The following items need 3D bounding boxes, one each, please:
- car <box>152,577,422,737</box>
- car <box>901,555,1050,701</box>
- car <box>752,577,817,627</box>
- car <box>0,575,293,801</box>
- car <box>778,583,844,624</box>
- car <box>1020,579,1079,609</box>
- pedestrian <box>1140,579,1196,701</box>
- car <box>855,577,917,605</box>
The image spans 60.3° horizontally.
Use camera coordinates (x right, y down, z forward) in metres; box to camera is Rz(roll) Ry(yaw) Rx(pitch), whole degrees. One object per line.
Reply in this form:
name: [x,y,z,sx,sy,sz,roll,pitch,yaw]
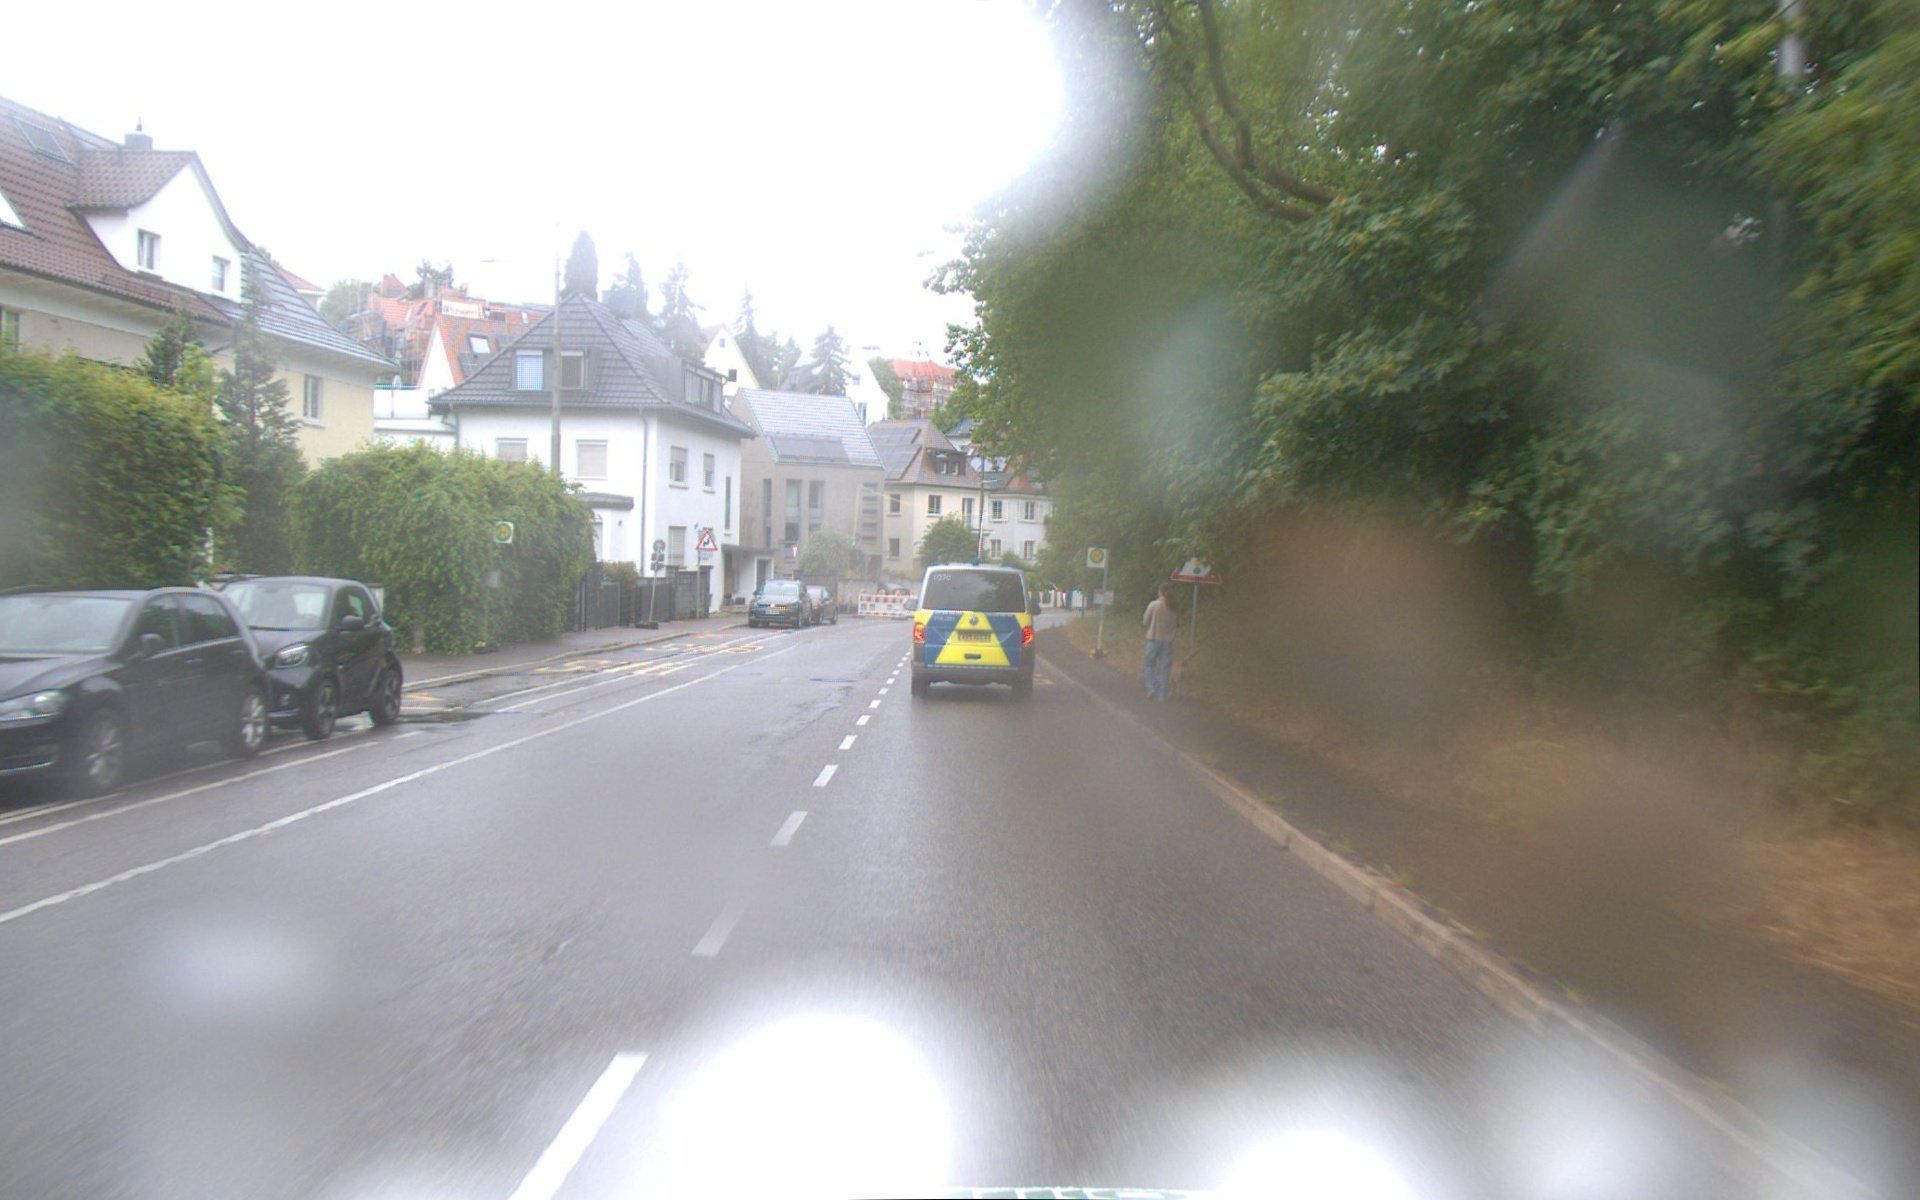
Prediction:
car: [-6.743,0.511,16.881,1.488,1.479,3.030,0,1,0]
car: [0.149,0.390,25.833,1.954,2.049,4.398,1,0,-4]
car: [-6.200,0.032,58.843,1.718,1.687,4.406,1,1,2]
car: [-6.727,0.538,12.698,1.654,1.443,4.213,0,1,-3]
car: [-5.747,0.102,64.208,1.582,1.465,4.234,2,1,8]
car: [6.665,-0.447,123.307,3.914,2.048,1.826,3,1,31]
pedestrian: [2.880,0.553,22.951,0.629,1.639,0.670,2,-1,-1]
car: [-4.487,-0.575,100.113,1.820,1.468,3.947,2,2,-38]
